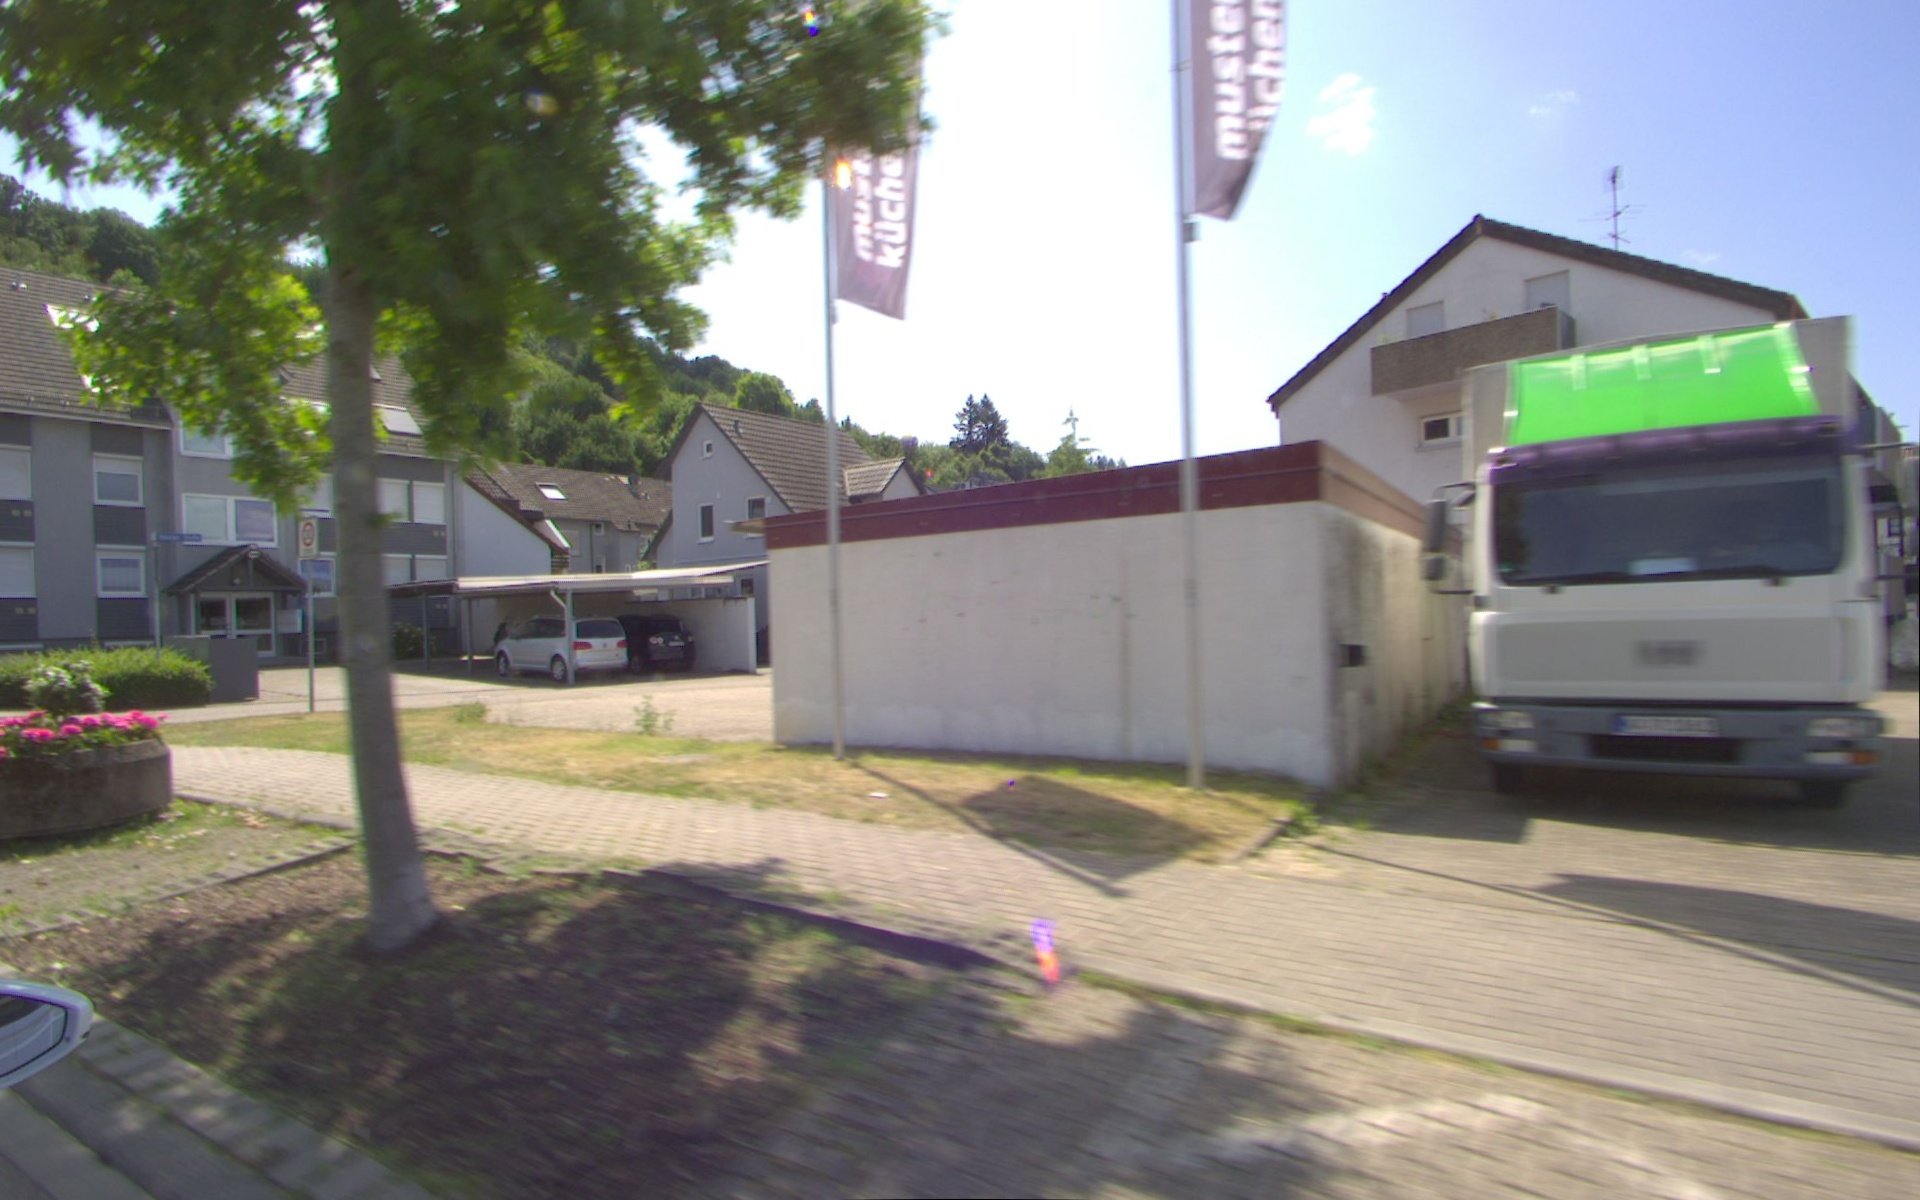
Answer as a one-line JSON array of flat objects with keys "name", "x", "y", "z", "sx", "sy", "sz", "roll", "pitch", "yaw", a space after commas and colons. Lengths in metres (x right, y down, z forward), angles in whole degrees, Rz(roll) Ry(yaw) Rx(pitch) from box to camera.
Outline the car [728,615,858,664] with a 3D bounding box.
[{"name": "car", "x": -5.382, "y": 1.243, "z": 32.158, "sx": 3.942, "sy": 1.490, "sz": 1.805, "roll": -1, "pitch": 0, "yaw": 32}]

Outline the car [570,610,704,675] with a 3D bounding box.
[{"name": "car", "x": -9.229, "y": 1.154, "z": 28.516, "sx": 3.801, "sy": 1.609, "sz": 1.731, "roll": 1, "pitch": 2, "yaw": 36}]

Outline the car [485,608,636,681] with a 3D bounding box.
[{"name": "car", "x": -10.543, "y": 1.113, "z": 26.330, "sx": 4.158, "sy": 1.671, "sz": 1.731, "roll": 1, "pitch": 2, "yaw": 36}]

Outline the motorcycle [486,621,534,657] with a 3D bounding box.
[{"name": "motorcycle", "x": -15.555, "y": 1.328, "z": 34.590, "sx": 1.927, "sy": 1.179, "sz": 0.645, "roll": 1, "pitch": 1, "yaw": 37}]

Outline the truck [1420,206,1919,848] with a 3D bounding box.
[{"name": "truck", "x": 6.533, "y": -0.305, "z": 9.777, "sx": 2.640, "sy": 3.618, "sz": 8.156, "roll": -2, "pitch": -2, "yaw": 32}]
